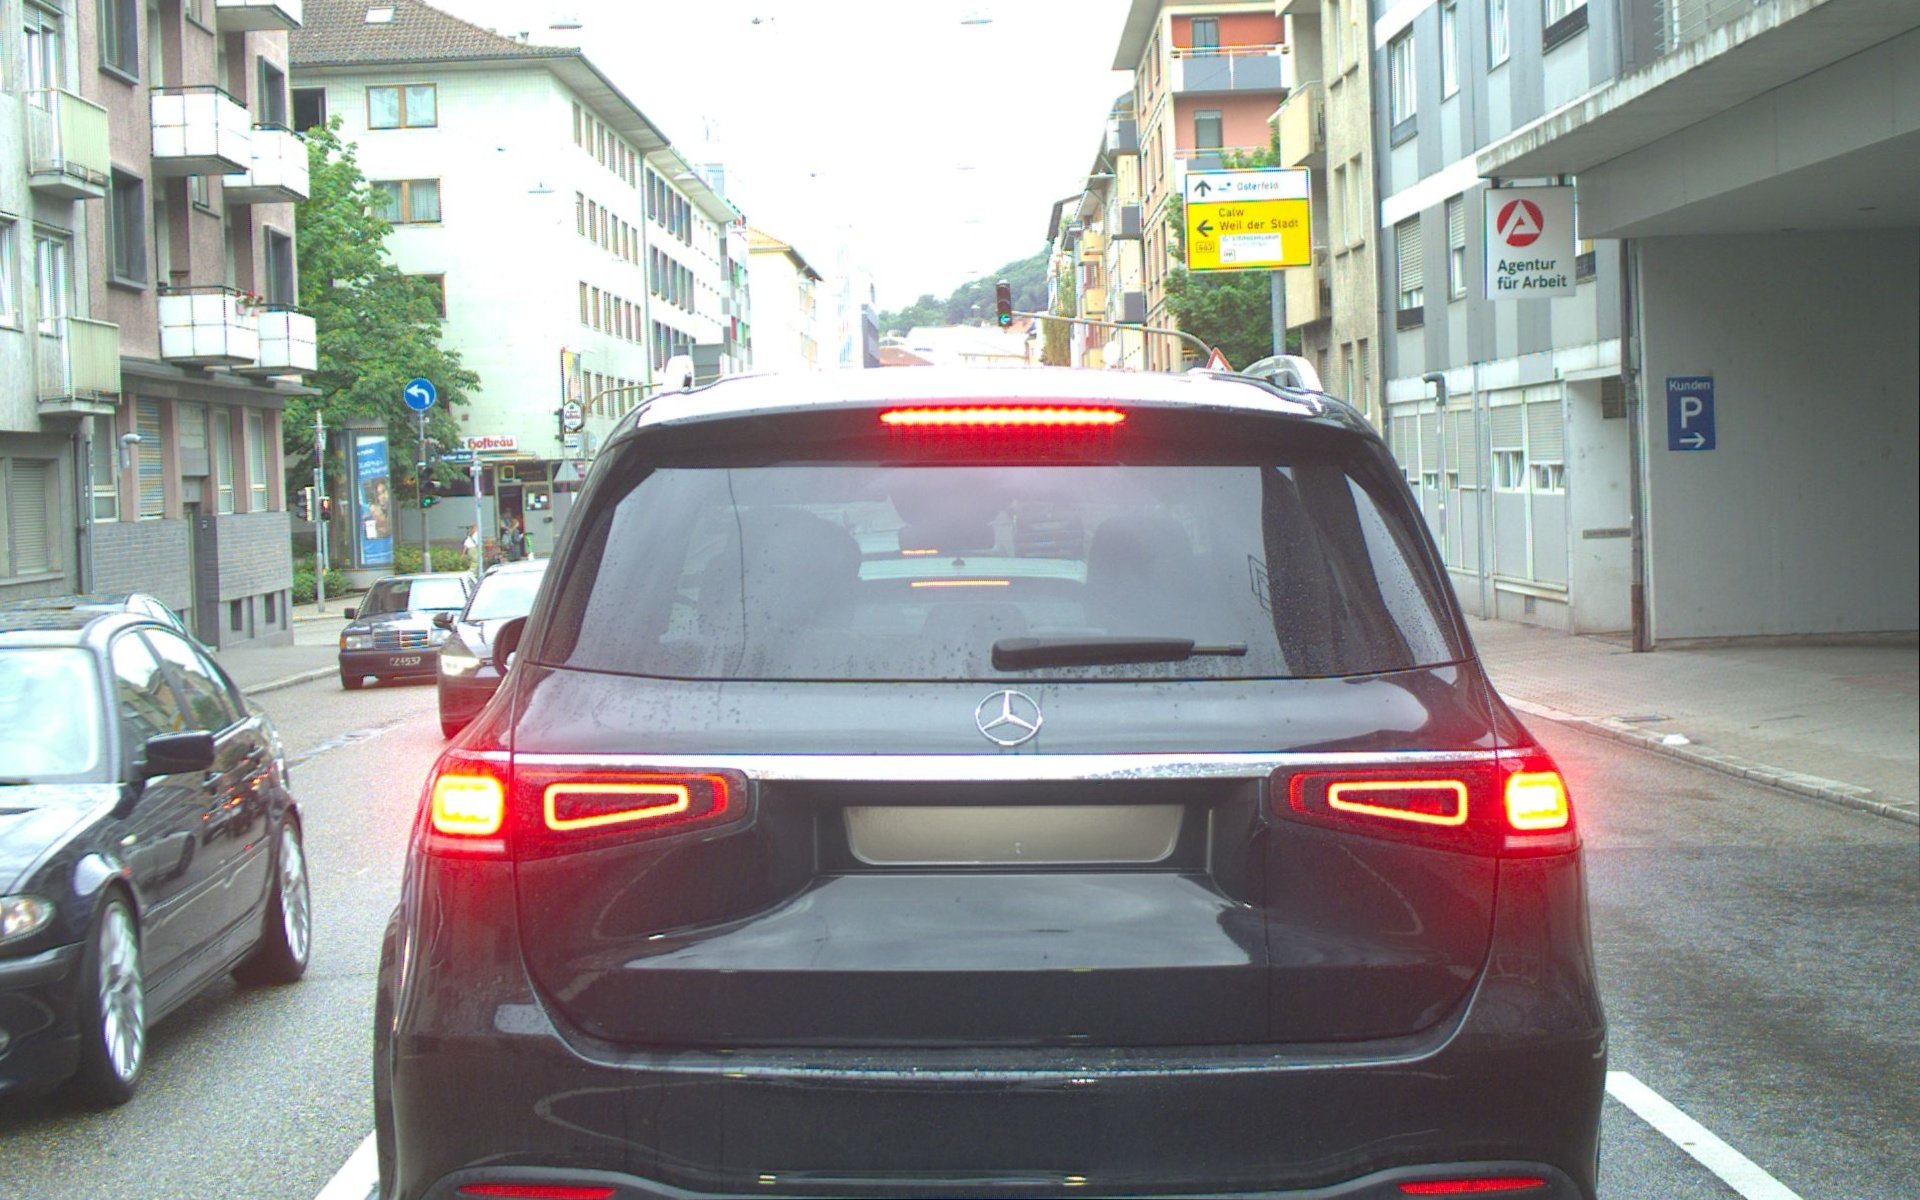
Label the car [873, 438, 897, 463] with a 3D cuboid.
[{"bbox_3d":[-5.464,-10.865,250.134,1.618,1.534,4.218,-3,1,-3],"label":"car"}]

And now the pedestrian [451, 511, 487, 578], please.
[{"bbox_3d":[-13.195,-1.491,92.401,0.636,1.758,0.773,-2,1,15],"label":"pedestrian"}]

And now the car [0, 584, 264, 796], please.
[{"bbox_3d":[-6.499,0.630,25.853,1.694,1.365,4.367,-4,1,-2],"label":"car"}]

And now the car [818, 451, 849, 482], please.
[{"bbox_3d":[-7.139,-7.486,193.644,1.618,1.534,4.218,-3,1,-3],"label":"car"}]

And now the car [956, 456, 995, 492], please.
[{"bbox_3d":[0.748,-6.136,167.704,1.618,1.534,4.218,-3,1,-3],"label":"car"}]

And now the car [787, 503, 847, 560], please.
[{"bbox_3d":[-4.224,-1.990,101.230,1.618,1.534,4.218,-3,1,-3],"label":"car"}]

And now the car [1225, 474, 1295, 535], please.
[{"bbox_3d":[8.229,-2.636,94.617,1.671,1.583,3.330,-2,1,2],"label":"car"}]

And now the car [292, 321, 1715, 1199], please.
[{"bbox_3d":[0.033,0.499,7.031,1.985,1.799,4.390,1,1,-1],"label":"car"}]

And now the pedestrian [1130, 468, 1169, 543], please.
[{"bbox_3d":[5.193,-2.588,94.070,0.923,2.007,0.706,-2,1,-2],"label":"pedestrian"}]

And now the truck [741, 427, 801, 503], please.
[{"bbox_3d":[-8.608,-6.095,157.015,2.479,3.035,9.921,-3,1,-3],"label":"truck"}]

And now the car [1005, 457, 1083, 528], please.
[{"bbox_3d":[2.259,-2.896,93.295,1.723,1.754,4.218,-3,1,-3],"label":"car"}]

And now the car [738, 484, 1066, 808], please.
[{"bbox_3d":[-0.417,0.230,20.844,1.751,1.725,4.218,-1,1,-3],"label":"car"}]

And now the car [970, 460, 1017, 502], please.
[{"bbox_3d":[1.348,-4.858,140.706,1.618,1.534,4.218,-3,1,-3],"label":"car"}]

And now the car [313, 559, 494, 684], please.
[{"bbox_3d":[-6.967,0.237,43.380,1.598,1.365,4.363,-4,1,-2],"label":"car"}]

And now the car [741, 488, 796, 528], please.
[{"bbox_3d":[-6.853,-3.288,123.352,1.885,1.260,4.218,-3,1,-3],"label":"car"}]

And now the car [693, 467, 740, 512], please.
[{"bbox_3d":[-9.314,-4.200,131.598,1.618,1.534,4.218,-3,1,-3],"label":"car"}]

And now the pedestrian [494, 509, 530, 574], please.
[{"bbox_3d":[-13.283,-1.733,101.922,0.923,1.895,0.706,-2,1,-2],"label":"pedestrian"}]

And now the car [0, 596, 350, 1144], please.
[{"bbox_3d":[-3.179,0.731,10.822,1.695,1.365,4.218,-4,0,0],"label":"car"}]

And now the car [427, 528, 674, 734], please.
[{"bbox_3d":[-3.527,0.247,30.248,1.694,1.575,4.218,-4,0,-2],"label":"car"}]
